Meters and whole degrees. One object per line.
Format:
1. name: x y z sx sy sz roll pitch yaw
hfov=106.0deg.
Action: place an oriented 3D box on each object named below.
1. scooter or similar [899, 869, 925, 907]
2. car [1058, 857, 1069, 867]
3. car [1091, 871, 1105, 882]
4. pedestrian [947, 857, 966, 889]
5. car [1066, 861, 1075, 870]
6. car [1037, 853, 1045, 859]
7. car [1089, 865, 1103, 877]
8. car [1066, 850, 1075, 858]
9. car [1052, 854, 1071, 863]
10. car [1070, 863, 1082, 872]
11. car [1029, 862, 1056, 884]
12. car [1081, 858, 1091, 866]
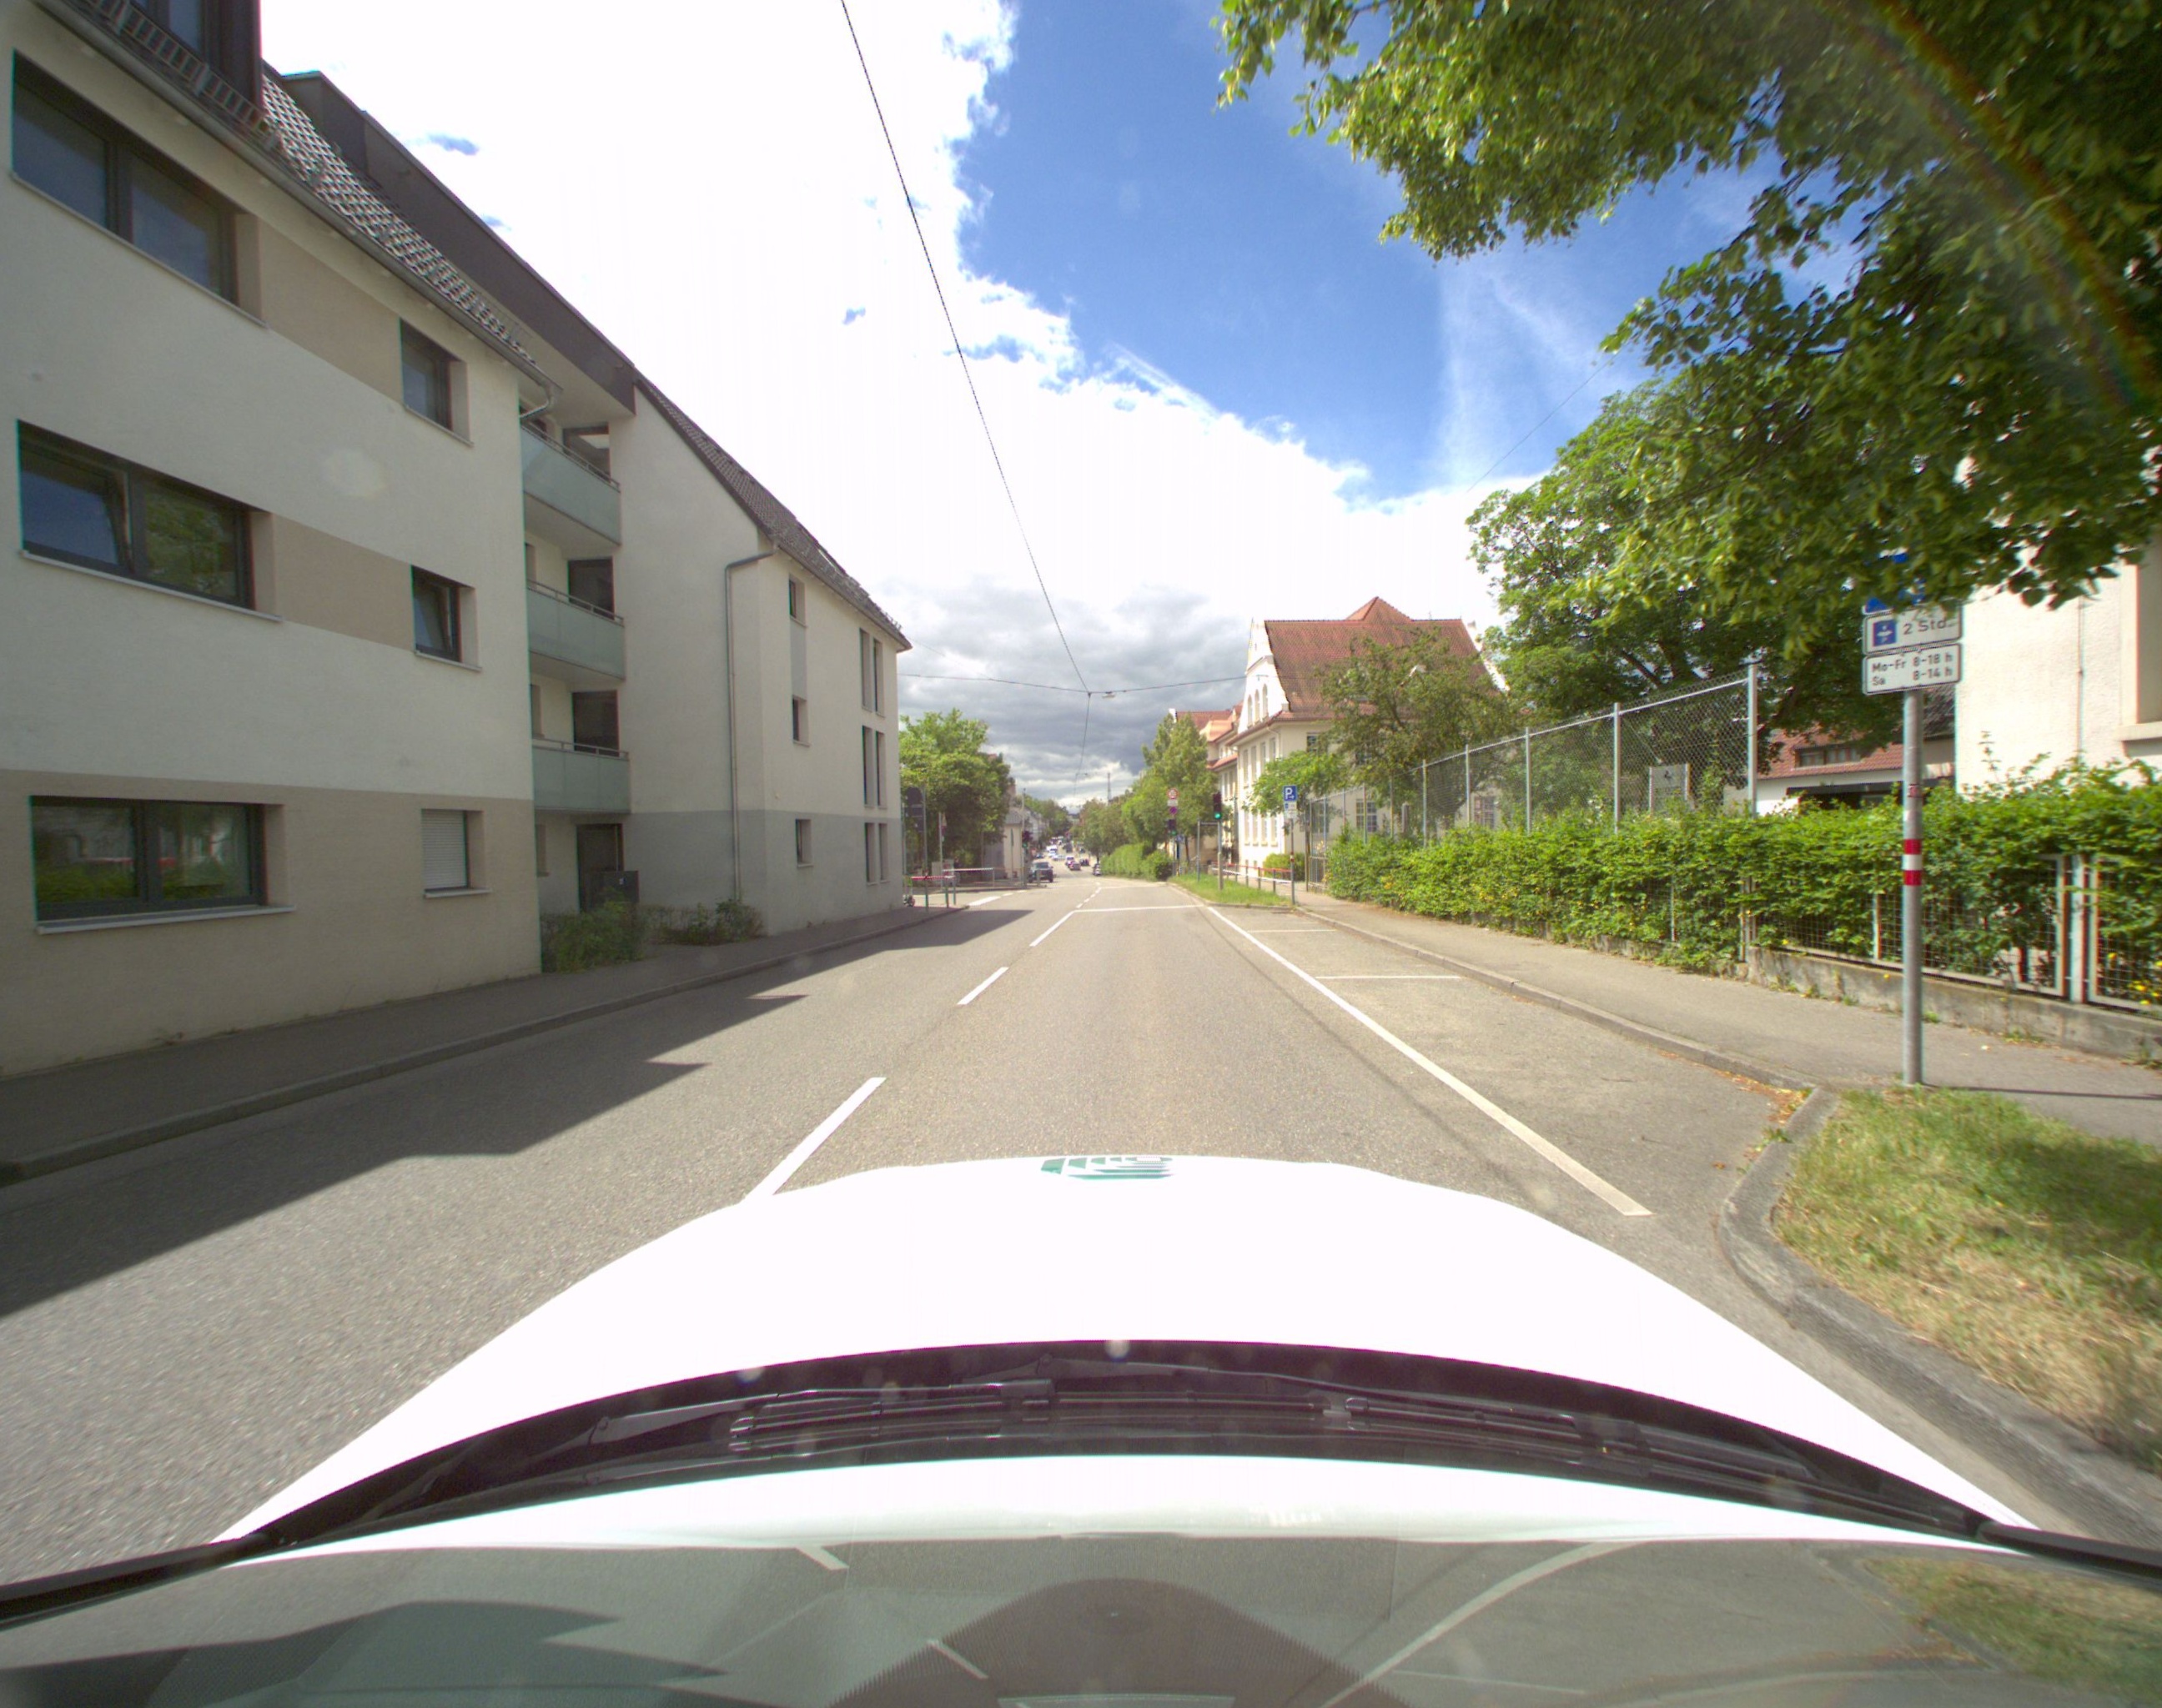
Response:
1. scooter or similar: -5.718 1.138 27.516 0.492 1.261 1.296 -2 -1 -27
2. car: -3.622 1.661 168.527 1.834 1.862 3.841 -1 0 -7
3. car: 2.395 3.277 118.572 1.781 1.509 4.361 -1 -1 -2
4. pedestrian: -6.360 0.978 41.655 0.775 1.597 0.665 0 -1 -32
5. car: -2.044 2.151 158.779 1.273 1.527 3.043 -2 3 -8
6. car: -10.009 0.504 205.516 1.867 1.640 4.000 0 -1 0
7. car: 2.233 2.567 124.338 1.839 1.768 4.511 -1 -1 -2
8. car: -3.214 -0.065 249.154 2.430 2.318 5.322 -1 0 -2
9. car: -4.385 1.074 184.572 3.987 2.014 1.993 0 -1 -10
10. car: -0.961 2.458 149.249 1.743 1.417 3.989 -2 0 -7
11. car: -2.881 1.418 62.021 1.789 1.610 4.645 -1 0 0
12. car: 0.943 1.602 165.016 1.748 1.371 3.997 -2 0 -2
